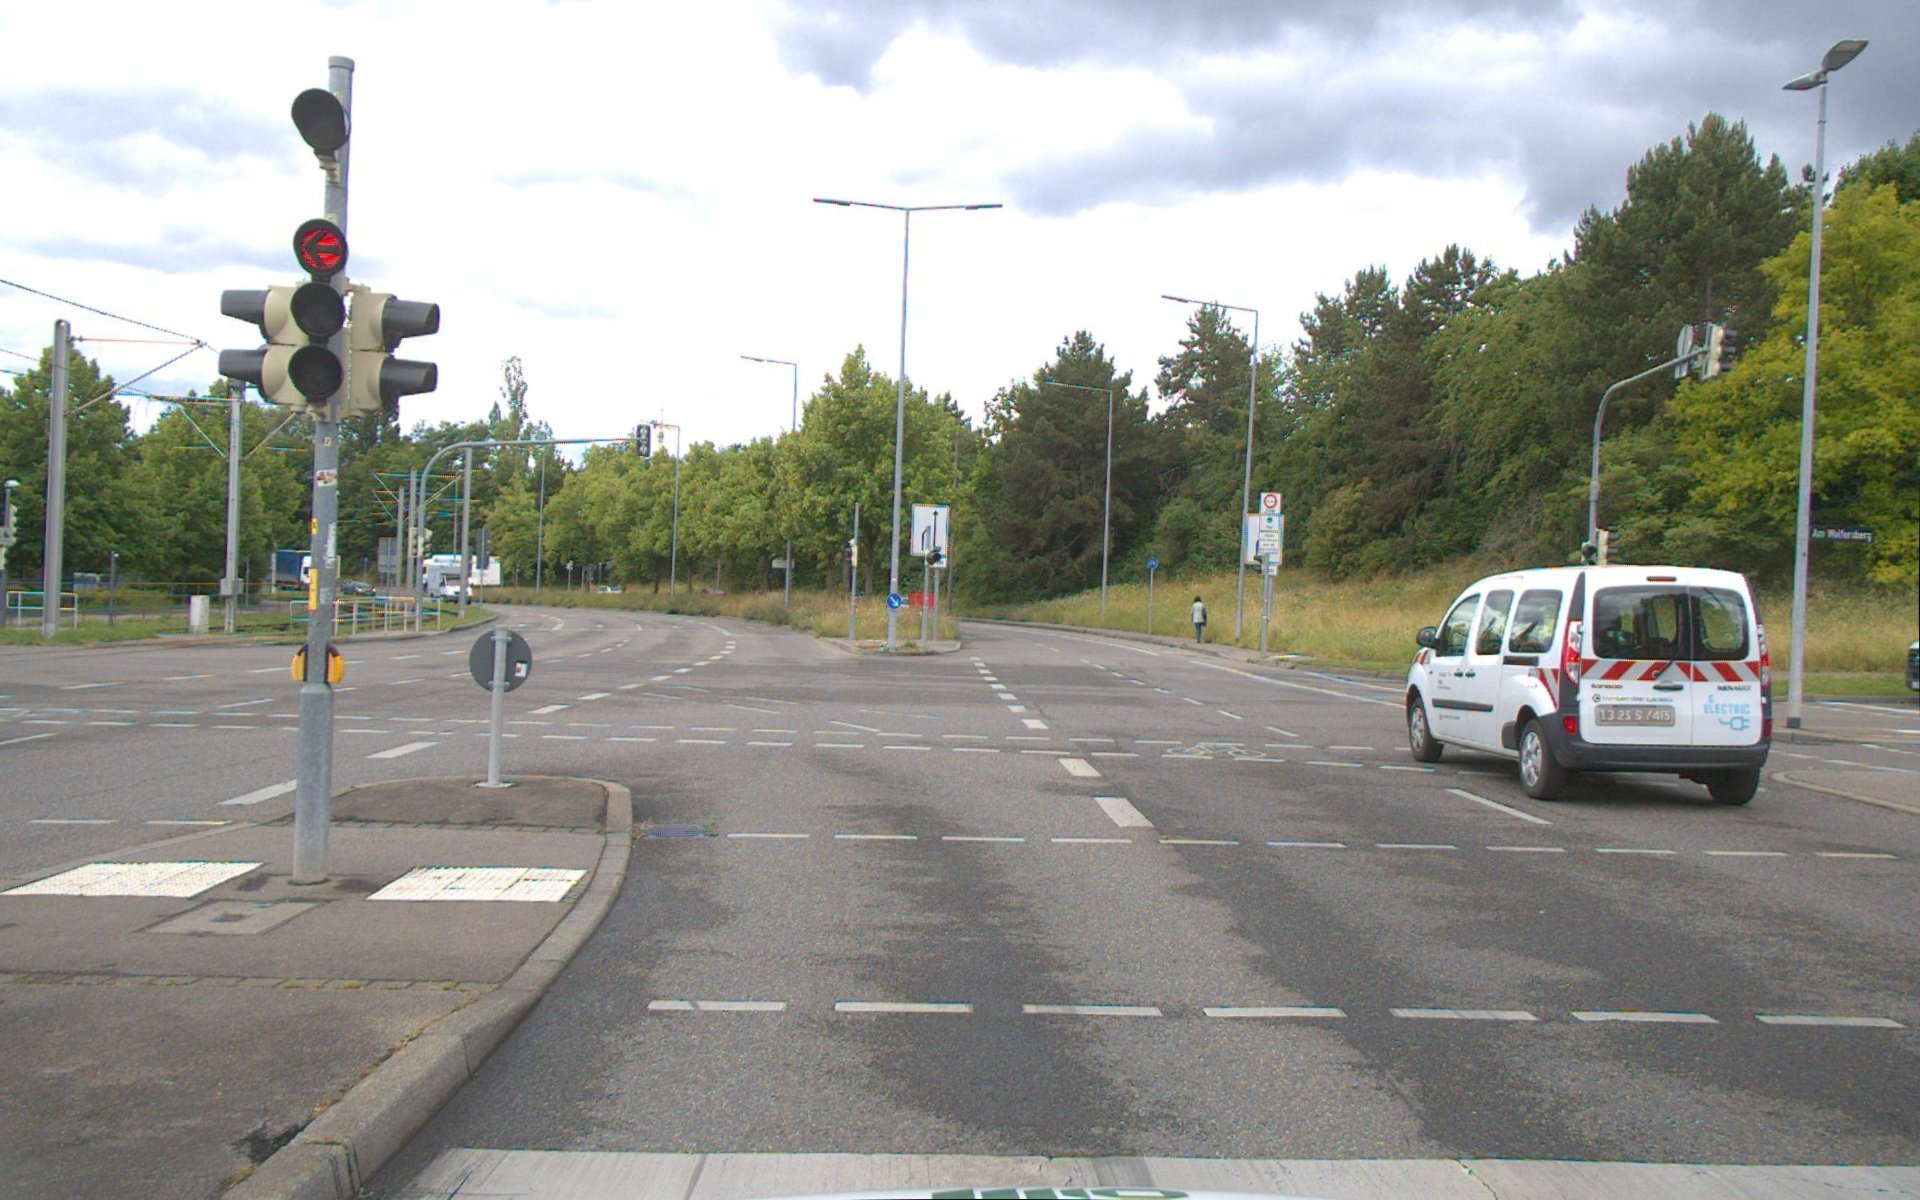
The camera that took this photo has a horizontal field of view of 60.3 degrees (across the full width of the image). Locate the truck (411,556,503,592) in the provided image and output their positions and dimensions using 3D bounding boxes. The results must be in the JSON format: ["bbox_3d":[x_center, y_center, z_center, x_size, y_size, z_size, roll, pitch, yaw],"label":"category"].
[{"bbox_3d":[-48.224,-2.528,158.409,11.193,3.387,2.735,1,0,40],"label":"truck"}]

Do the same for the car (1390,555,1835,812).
[{"bbox_3d":[5.331,0.618,14.335,1.953,1.833,4.838,0,0,0],"label":"car"}]

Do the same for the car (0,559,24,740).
[{"bbox_3d":[-9.523,0.457,13.285,1.793,1.657,4.421,0,0,-5],"label":"car"}]

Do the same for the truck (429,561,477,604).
[{"bbox_3d":[-38.942,-1.361,126.930,2.094,3.190,5.837,1,0,-31],"label":"truck"}]

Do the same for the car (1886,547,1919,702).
[{"bbox_3d":[20.333,0.465,30.087,5.772,2.830,2.135,0,0,-1],"label":"car"}]

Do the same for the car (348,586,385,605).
[{"bbox_3d":[-52.018,-0.428,144.831,1.768,1.471,4.467,-1,3,-38],"label":"car"}]

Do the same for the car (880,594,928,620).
[{"bbox_3d":[-3.280,0.398,95.785,1.749,1.446,4.439,1,0,-16],"label":"car"}]

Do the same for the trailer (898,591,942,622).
[{"bbox_3d":[-2.252,0.364,92.203,1.736,1.644,3.030,1,0,-16],"label":"trailer"}]

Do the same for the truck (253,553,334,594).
[{"bbox_3d":[-65.333,-2.544,161.925,3.034,3.826,12.609,1,0,-43],"label":"truck"}]

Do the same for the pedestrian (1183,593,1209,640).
[{"bbox_3d":[8.536,0.599,59.930,0.797,1.656,0.790,1,0,-1],"label":"pedestrian"}]
